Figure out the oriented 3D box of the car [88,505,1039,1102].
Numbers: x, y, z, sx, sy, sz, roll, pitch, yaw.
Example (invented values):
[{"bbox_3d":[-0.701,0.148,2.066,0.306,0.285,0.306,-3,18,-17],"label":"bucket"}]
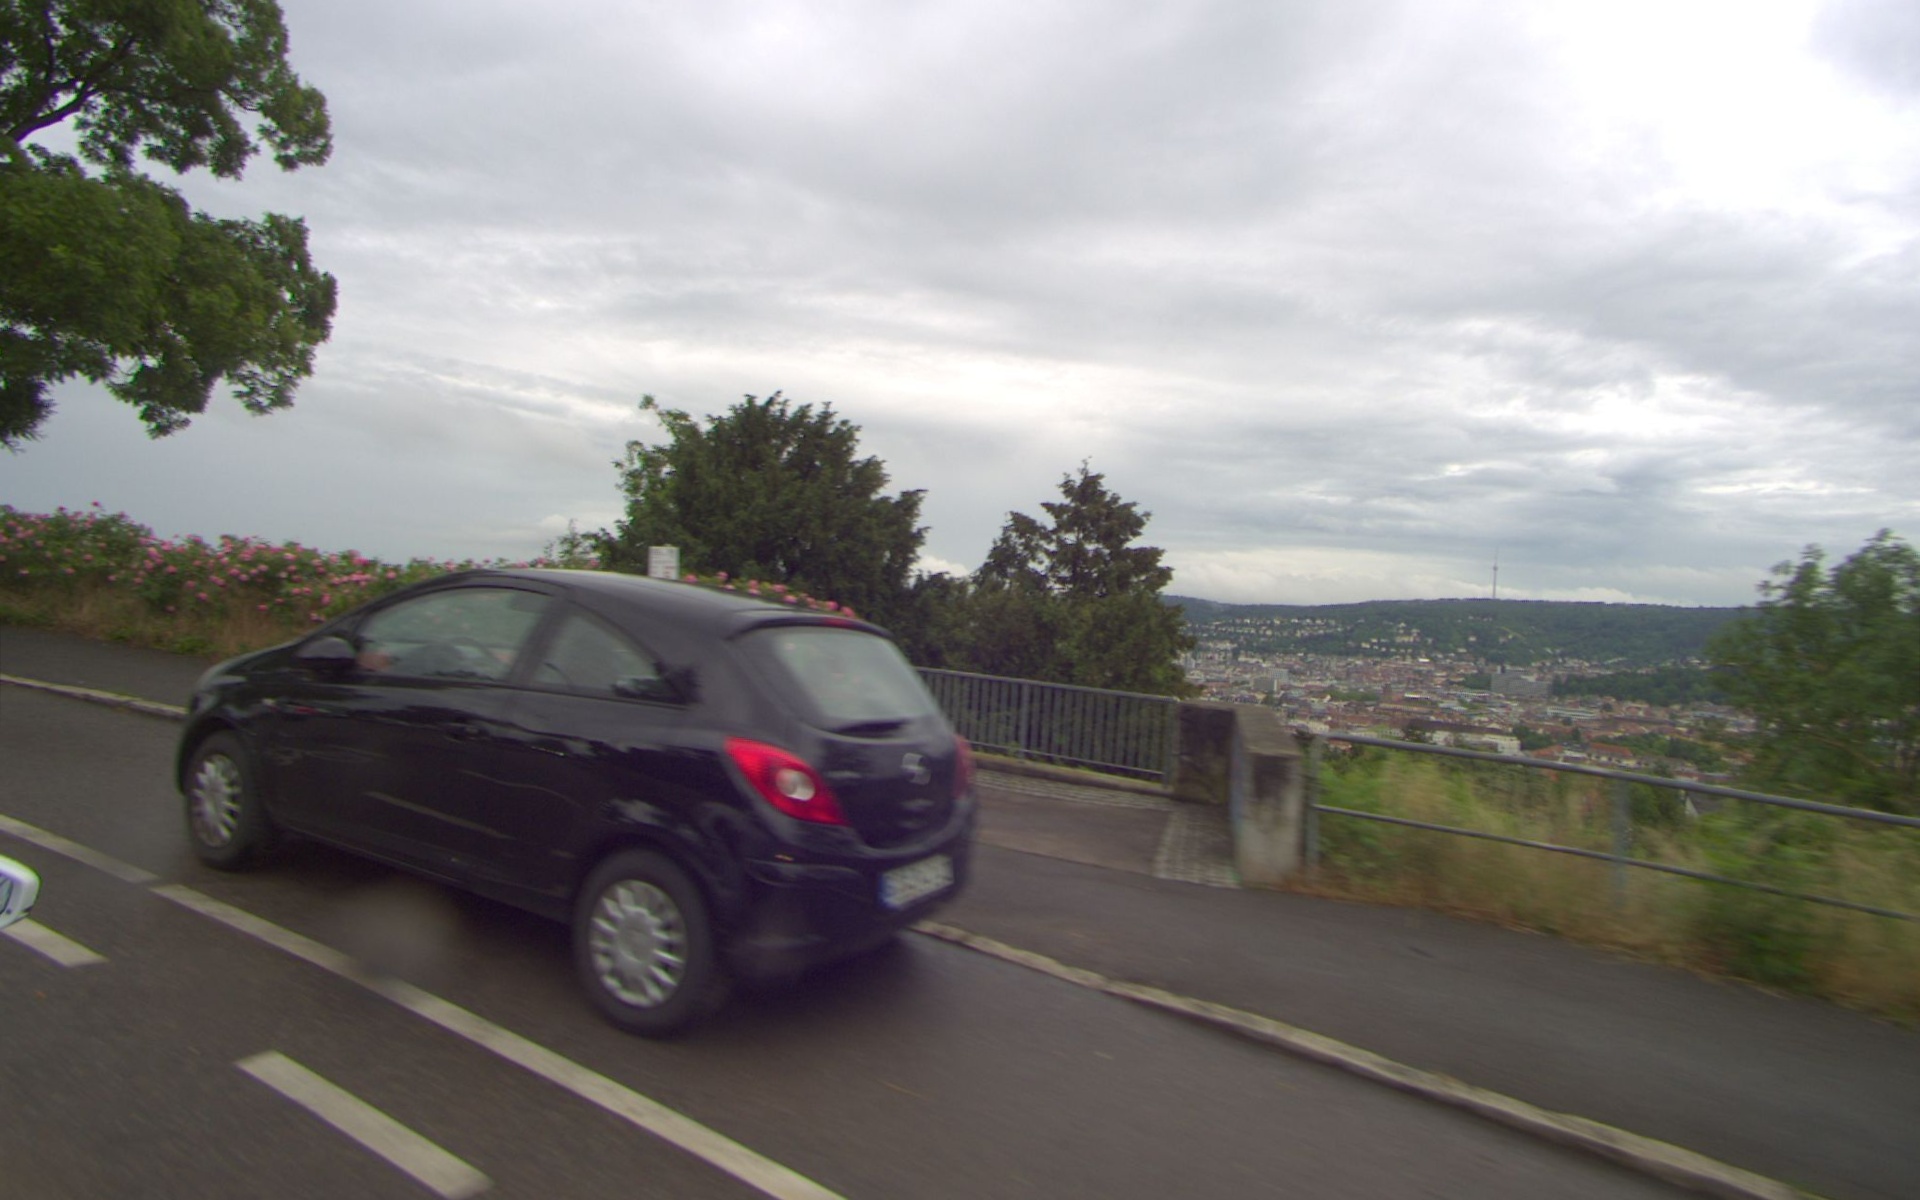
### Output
[{"bbox_3d":[-1.836,0.584,4.543,3.877,1.461,1.700,7,-1,26],"label":"car"}]
